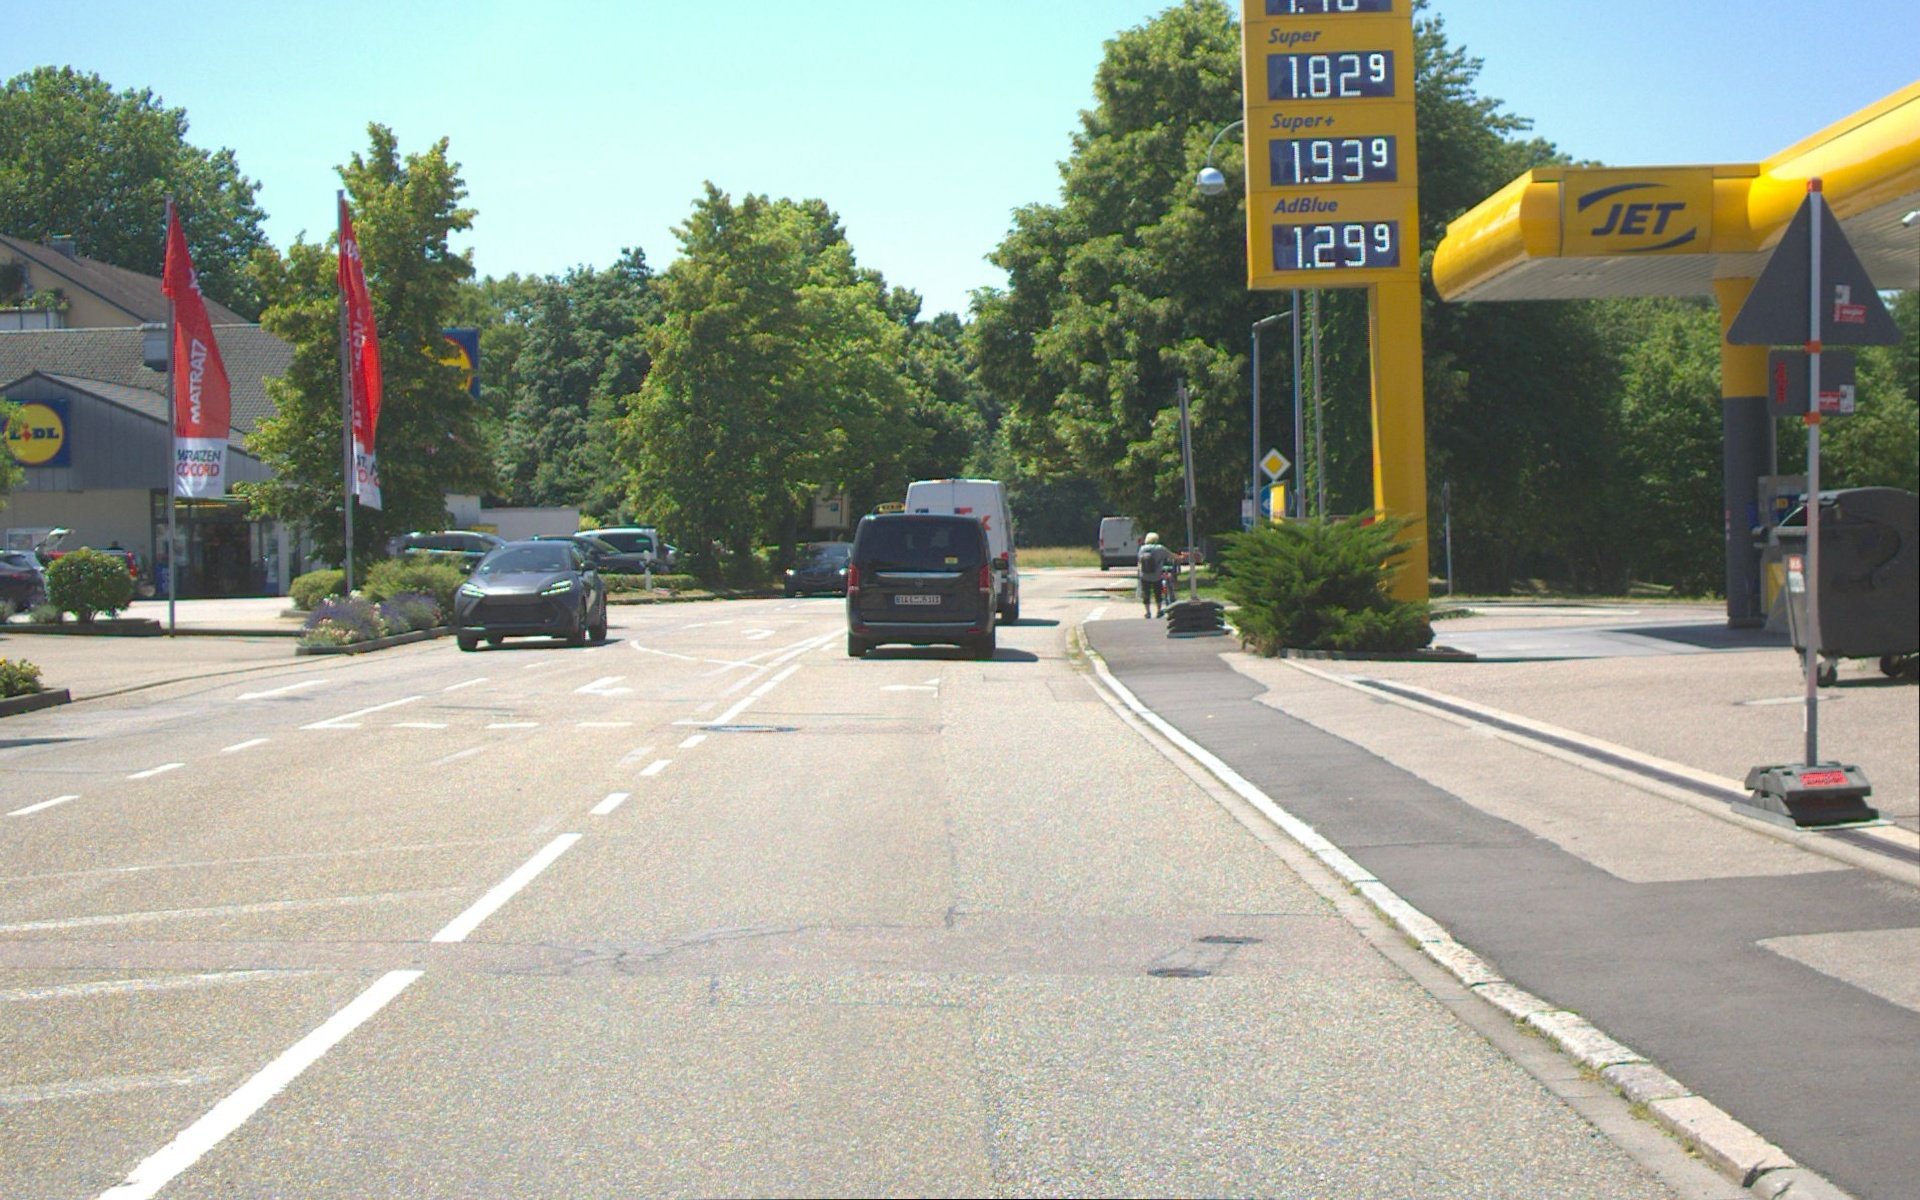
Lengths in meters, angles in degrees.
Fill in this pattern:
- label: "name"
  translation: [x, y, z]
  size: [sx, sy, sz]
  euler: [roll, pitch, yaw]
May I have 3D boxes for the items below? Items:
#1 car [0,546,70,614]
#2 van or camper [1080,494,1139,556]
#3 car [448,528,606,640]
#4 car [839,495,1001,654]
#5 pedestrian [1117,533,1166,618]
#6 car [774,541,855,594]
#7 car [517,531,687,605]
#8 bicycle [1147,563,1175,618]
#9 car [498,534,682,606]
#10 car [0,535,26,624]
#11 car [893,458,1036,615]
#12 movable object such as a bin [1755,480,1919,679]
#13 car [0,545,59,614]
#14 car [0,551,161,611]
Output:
- label: "car"
  translation: [-24.324, -0.499, 84.598]
  size: [4.312, 1.649, 2.114]
  euler: [0, 0, 0]
- label: "van or camper"
  translation: [7.294, -3.620, 167.950]
  size: [2.631, 2.919, 5.207]
  euler: [1, 0, 0]
- label: "car"
  translation: [-6.357, -0.263, 50.880]
  size: [1.762, 1.522, 4.138]
  euler: [-2, 1, 0]
- label: "car"
  translation: [-0.543, -0.344, 45.441]
  size: [1.993, 1.946, 5.005]
  euler: [1, 1, -1]
- label: "pedestrian"
  translation: [3.057, -0.412, 57.761]
  size: [0.769, 1.416, 0.868]
  euler: [0, 1, 6]
- label: "car"
  translation: [-3.882, -0.864, 92.620]
  size: [1.932, 1.396, 4.689]
  euler: [0, 0, 1]
- label: "car"
  translation: [-9.645, -0.863, 92.849]
  size: [4.356, 1.973, 1.905]
  euler: [0, 0, 2]
- label: "bicycle"
  translation: [3.363, -0.168, 57.472]
  size: [0.378, 0.909, 1.598]
  euler: [0, 1, 6]
- label: "car"
  translation: [-9.692, -0.784, 90.132]
  size: [4.387, 1.839, 2.103]
  euler: [0, 0, 10]
- label: "car"
  translation: [-17.753, -0.329, 56.535]
  size: [4.187, 1.441, 1.978]
  euler: [0, 1, 16]
- label: "car"
  translation: [0.135, -1.123, 62.174]
  size: [2.078, 2.693, 4.665]
  euler: [1, 1, 6]
- label: "movable object such as a bin"
  translation: [6.935, -0.175, 26.044]
  size: [1.434, 1.433, 1.468]
  euler: [-2, 1, 0]
- label: "car"
  translation: [-23.041, -0.469, 79.110]
  size: [4.235, 1.583, 1.770]
  euler: [0, 0, -5]
- label: "car"
  translation: [-22.998, -0.495, 88.806]
  size: [4.312, 1.525, 1.828]
  euler: [0, 0, 0]
